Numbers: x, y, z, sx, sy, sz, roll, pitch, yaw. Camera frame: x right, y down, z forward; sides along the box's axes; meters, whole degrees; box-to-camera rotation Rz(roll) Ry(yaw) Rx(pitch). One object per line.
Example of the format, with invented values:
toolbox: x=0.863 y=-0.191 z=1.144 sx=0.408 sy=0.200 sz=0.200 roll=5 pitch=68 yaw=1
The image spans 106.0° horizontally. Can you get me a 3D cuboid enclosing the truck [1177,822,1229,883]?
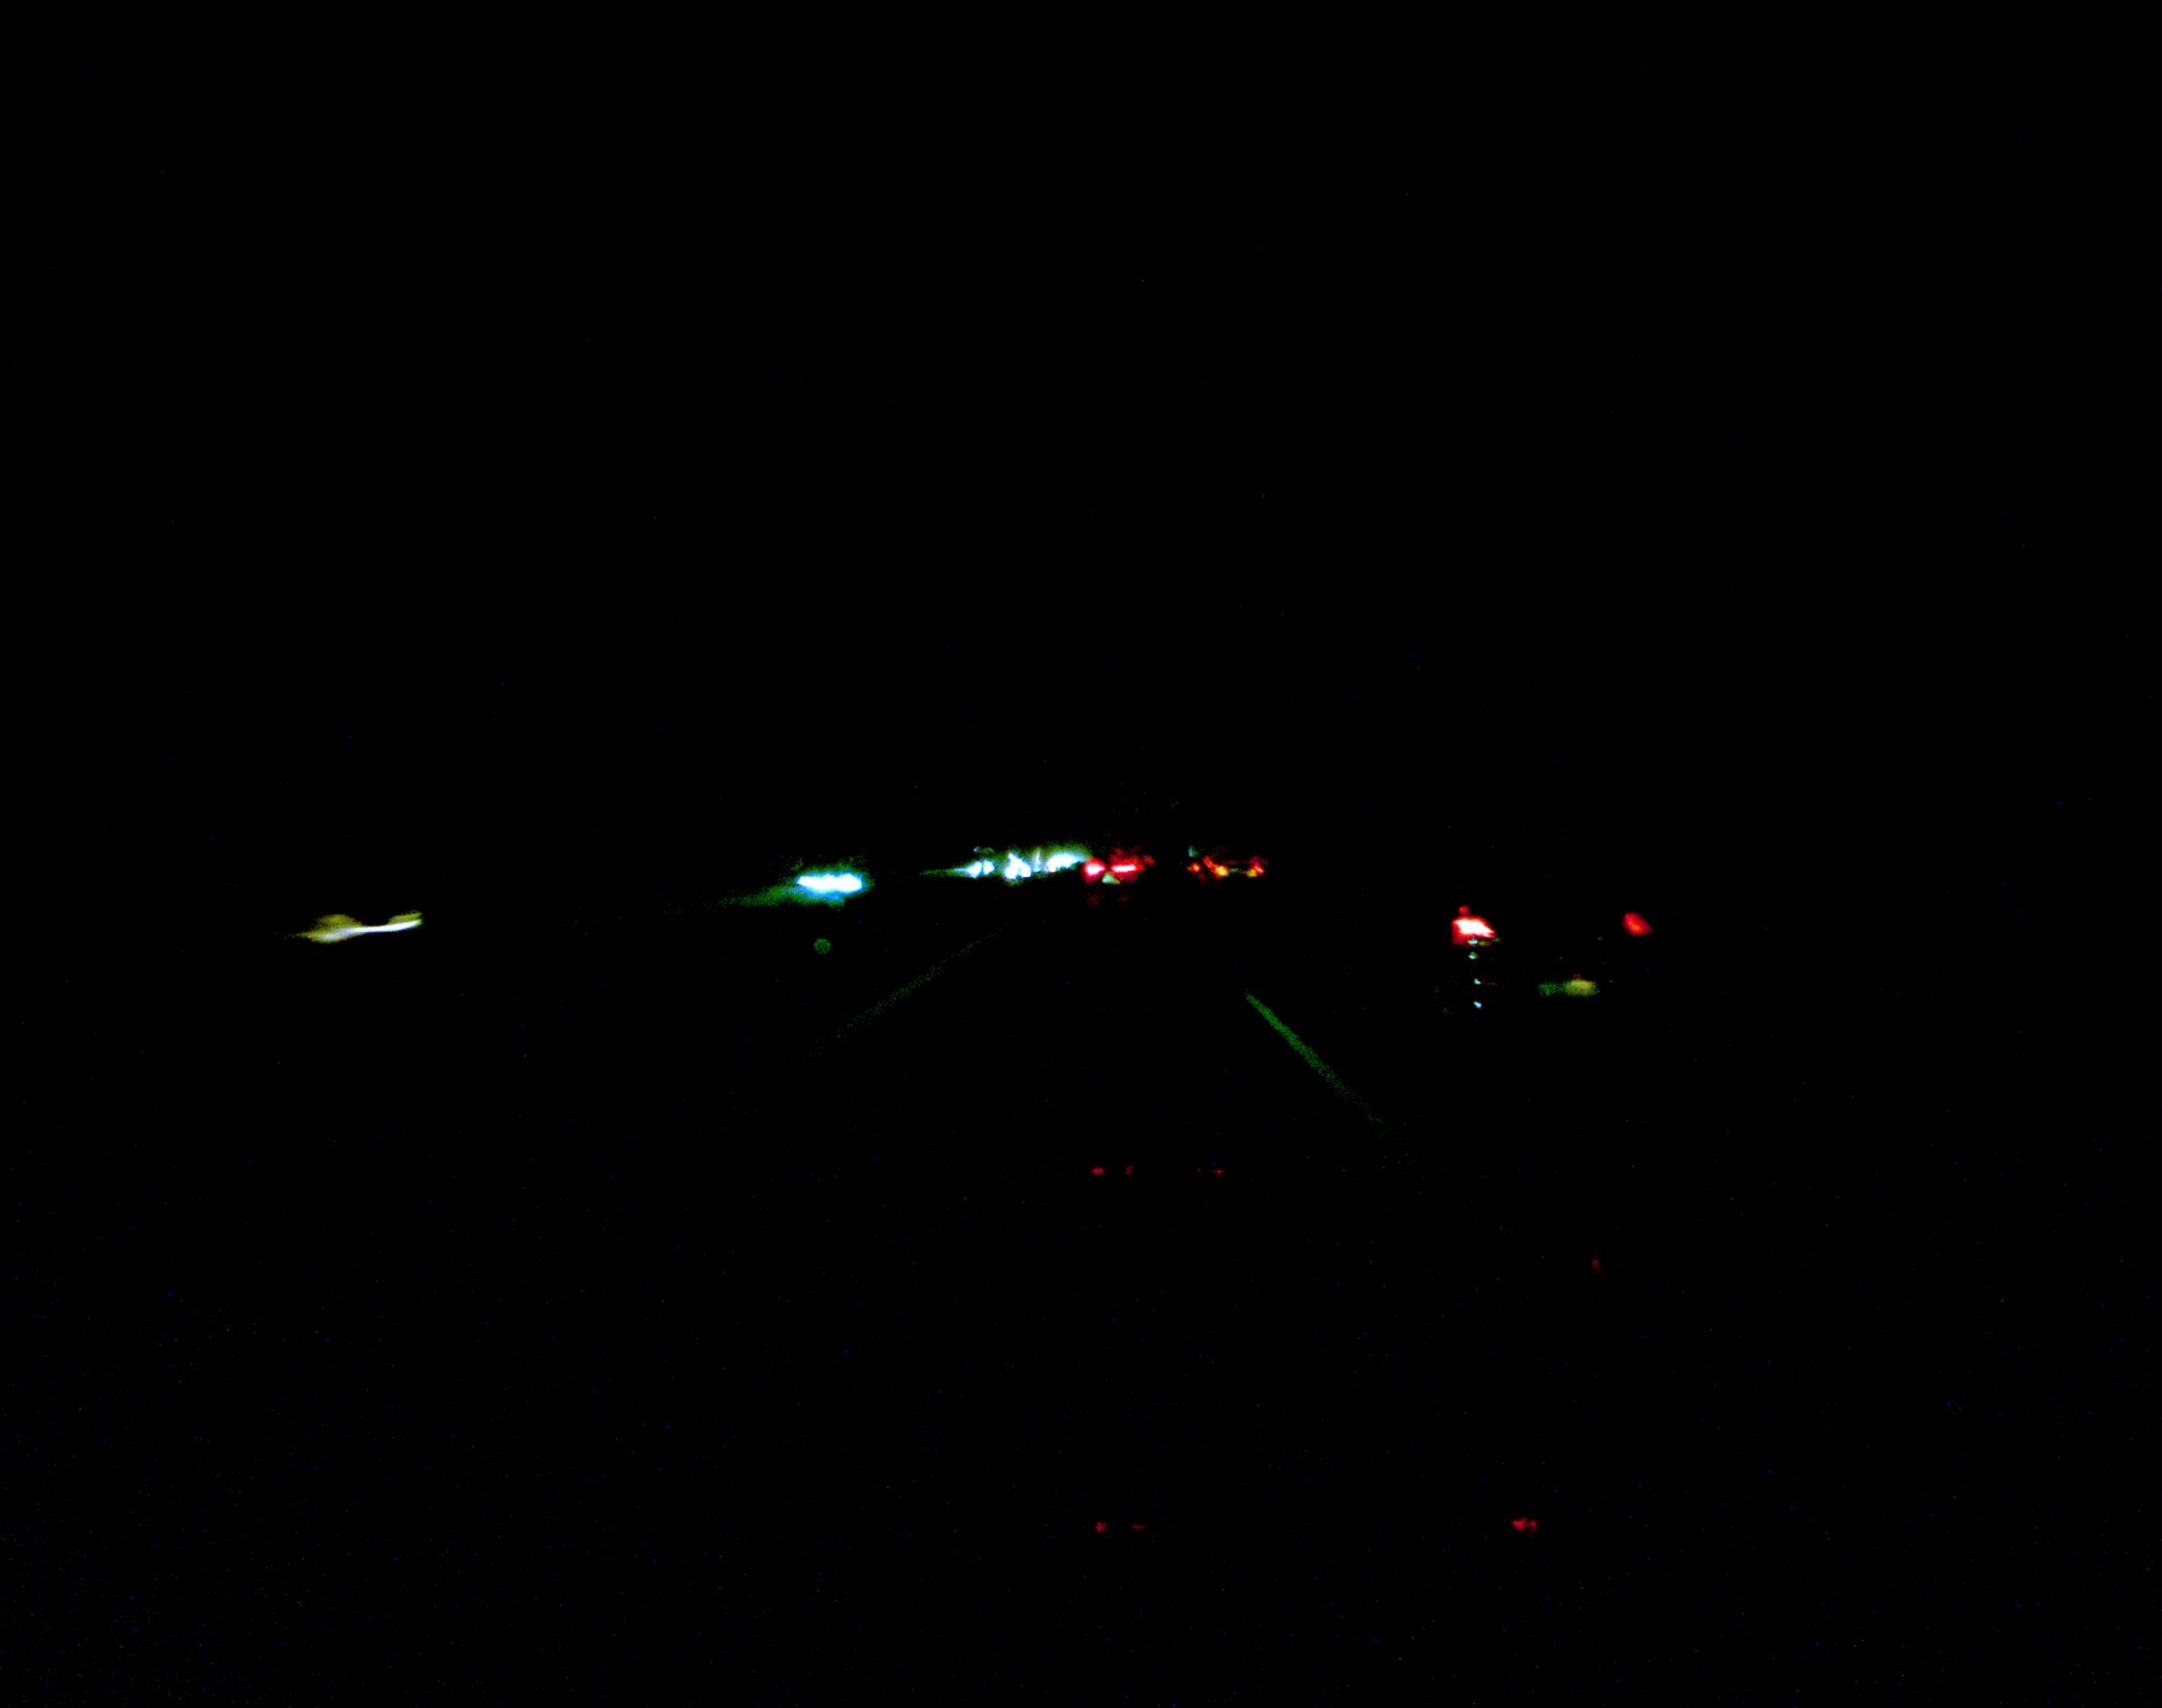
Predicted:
truck: x=8.823 y=-0.086 z=59.642 sx=2.892 sy=4.108 sz=6.032 roll=-3 pitch=-1 yaw=1

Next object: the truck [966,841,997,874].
truck: x=-13.456 y=0.499 z=110.585 sx=2.962 sy=4.268 sz=6.506 roll=2 pitch=0 yaw=2

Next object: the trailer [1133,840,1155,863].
trailer: x=12.431 y=-0.364 z=162.081 sx=3.031 sy=4.109 sz=13.826 roll=-3 pitch=-1 yaw=0

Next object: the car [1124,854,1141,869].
car: x=7.190 y=1.044 z=114.153 sx=1.988 sy=2.014 sz=3.997 roll=-3 pitch=-1 yaw=-2

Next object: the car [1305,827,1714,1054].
car: x=3.684 y=0.653 z=8.084 sx=1.734 sy=1.575 sz=4.495 roll=-2 pitch=-1 yaw=1

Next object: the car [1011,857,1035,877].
car: x=-6.079 y=1.337 z=85.489 sx=1.986 sy=2.013 sz=4.452 roll=-2 pitch=0 yaw=2

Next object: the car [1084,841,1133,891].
car: x=1.196 y=0.544 z=35.621 sx=1.986 sy=2.014 sz=4.001 roll=-1 pitch=-1 yaw=2

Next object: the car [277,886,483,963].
car: x=-19.503 y=1.893 z=22.963 sx=1.986 sy=1.714 sz=4.248 roll=-3 pitch=0 yaw=2

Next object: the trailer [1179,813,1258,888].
trailer: x=8.632 y=-0.143 z=53.198 sx=2.892 sy=4.108 sz=14.491 roll=-3 pitch=-1 yaw=2

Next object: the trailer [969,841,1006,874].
trailer: x=-13.285 y=0.550 z=117.030 sx=2.962 sy=4.268 sz=14.867 roll=2 pitch=0 yaw=2

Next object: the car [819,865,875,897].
car: x=-14.674 y=1.671 z=51.353 sx=1.986 sy=1.759 sz=4.592 roll=-3 pitch=0 yaw=2
